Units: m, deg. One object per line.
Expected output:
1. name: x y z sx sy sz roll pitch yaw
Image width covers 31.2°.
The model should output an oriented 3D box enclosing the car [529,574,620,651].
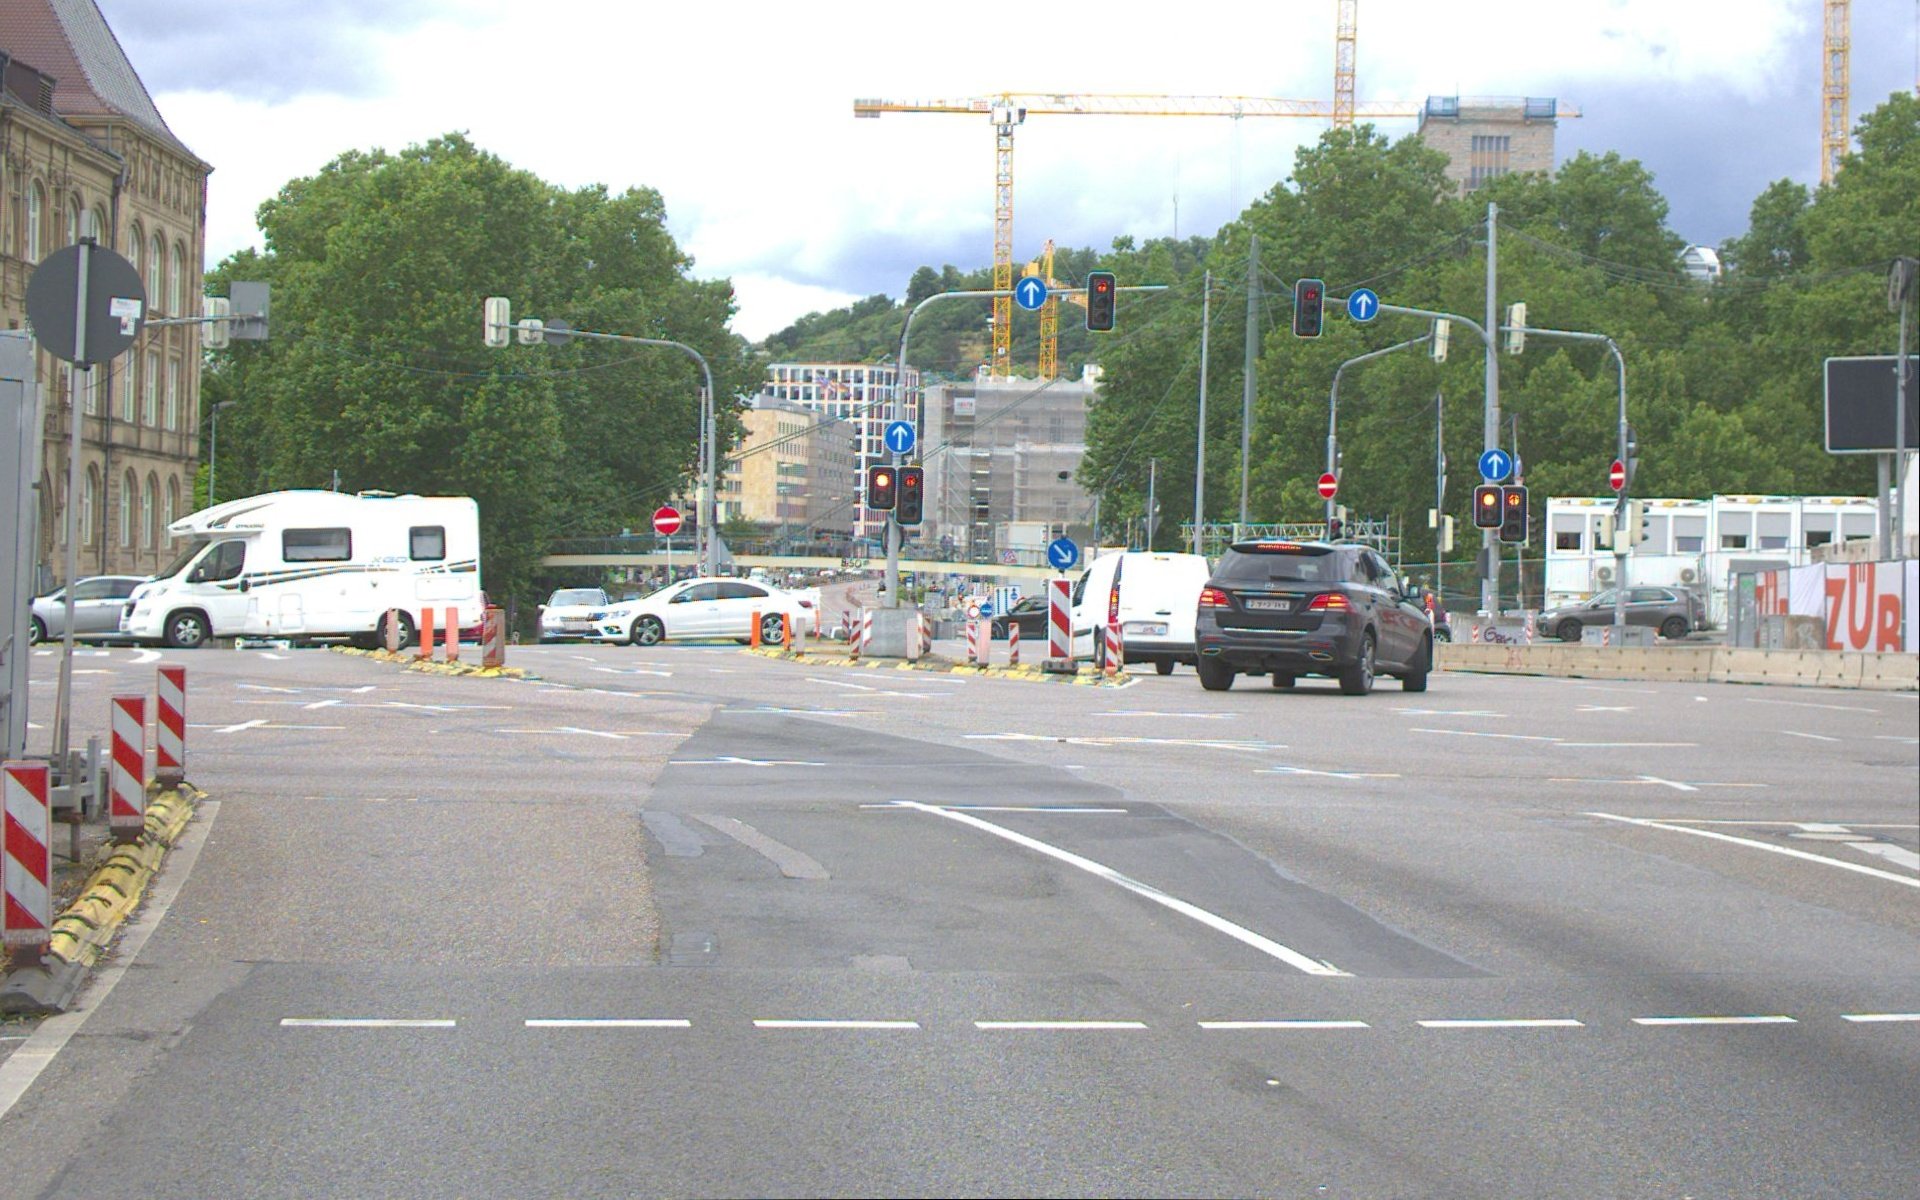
1. car: -9.510 0.287 85.118 1.993 1.831 4.001 1 1 -3

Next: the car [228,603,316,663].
1. car: -22.204 1.041 111.043 1.993 1.831 4.000 1 1 1

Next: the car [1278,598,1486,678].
1. car: 9.172 0.826 74.759 3.986 1.678 2.001 1 1 -18

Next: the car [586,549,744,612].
1. car: -8.085 -0.540 94.313 3.988 1.656 2.000 1 0 6

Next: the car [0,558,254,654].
1. car: -15.949 0.113 65.425 4.564 1.769 2.000 1 1 -25

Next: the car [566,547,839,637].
1. car: -5.293 -0.170 70.724 5.168 1.779 2.165 1 1 -23

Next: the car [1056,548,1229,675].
1. car: 2.721 0.144 52.317 1.863 1.827 4.723 1 1 -6

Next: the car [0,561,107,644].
1. car: -21.006 0.039 79.006 1.993 1.831 4.001 1 1 -3

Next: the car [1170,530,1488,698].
1. car: 4.347 0.141 39.942 1.997 1.828 4.249 1 1 32

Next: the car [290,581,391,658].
1. car: -15.486 0.461 86.087 1.993 1.831 4.001 1 1 -3

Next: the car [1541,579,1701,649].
1. car: 17.127 0.357 89.077 3.989 1.722 1.999 1 0 12

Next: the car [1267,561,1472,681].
1. car: 6.293 0.290 53.315 1.993 1.753 4.506 1 1 -9

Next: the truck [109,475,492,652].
1. truck: -12.205 -0.641 63.649 6.580 3.135 2.368 1 0 -23
